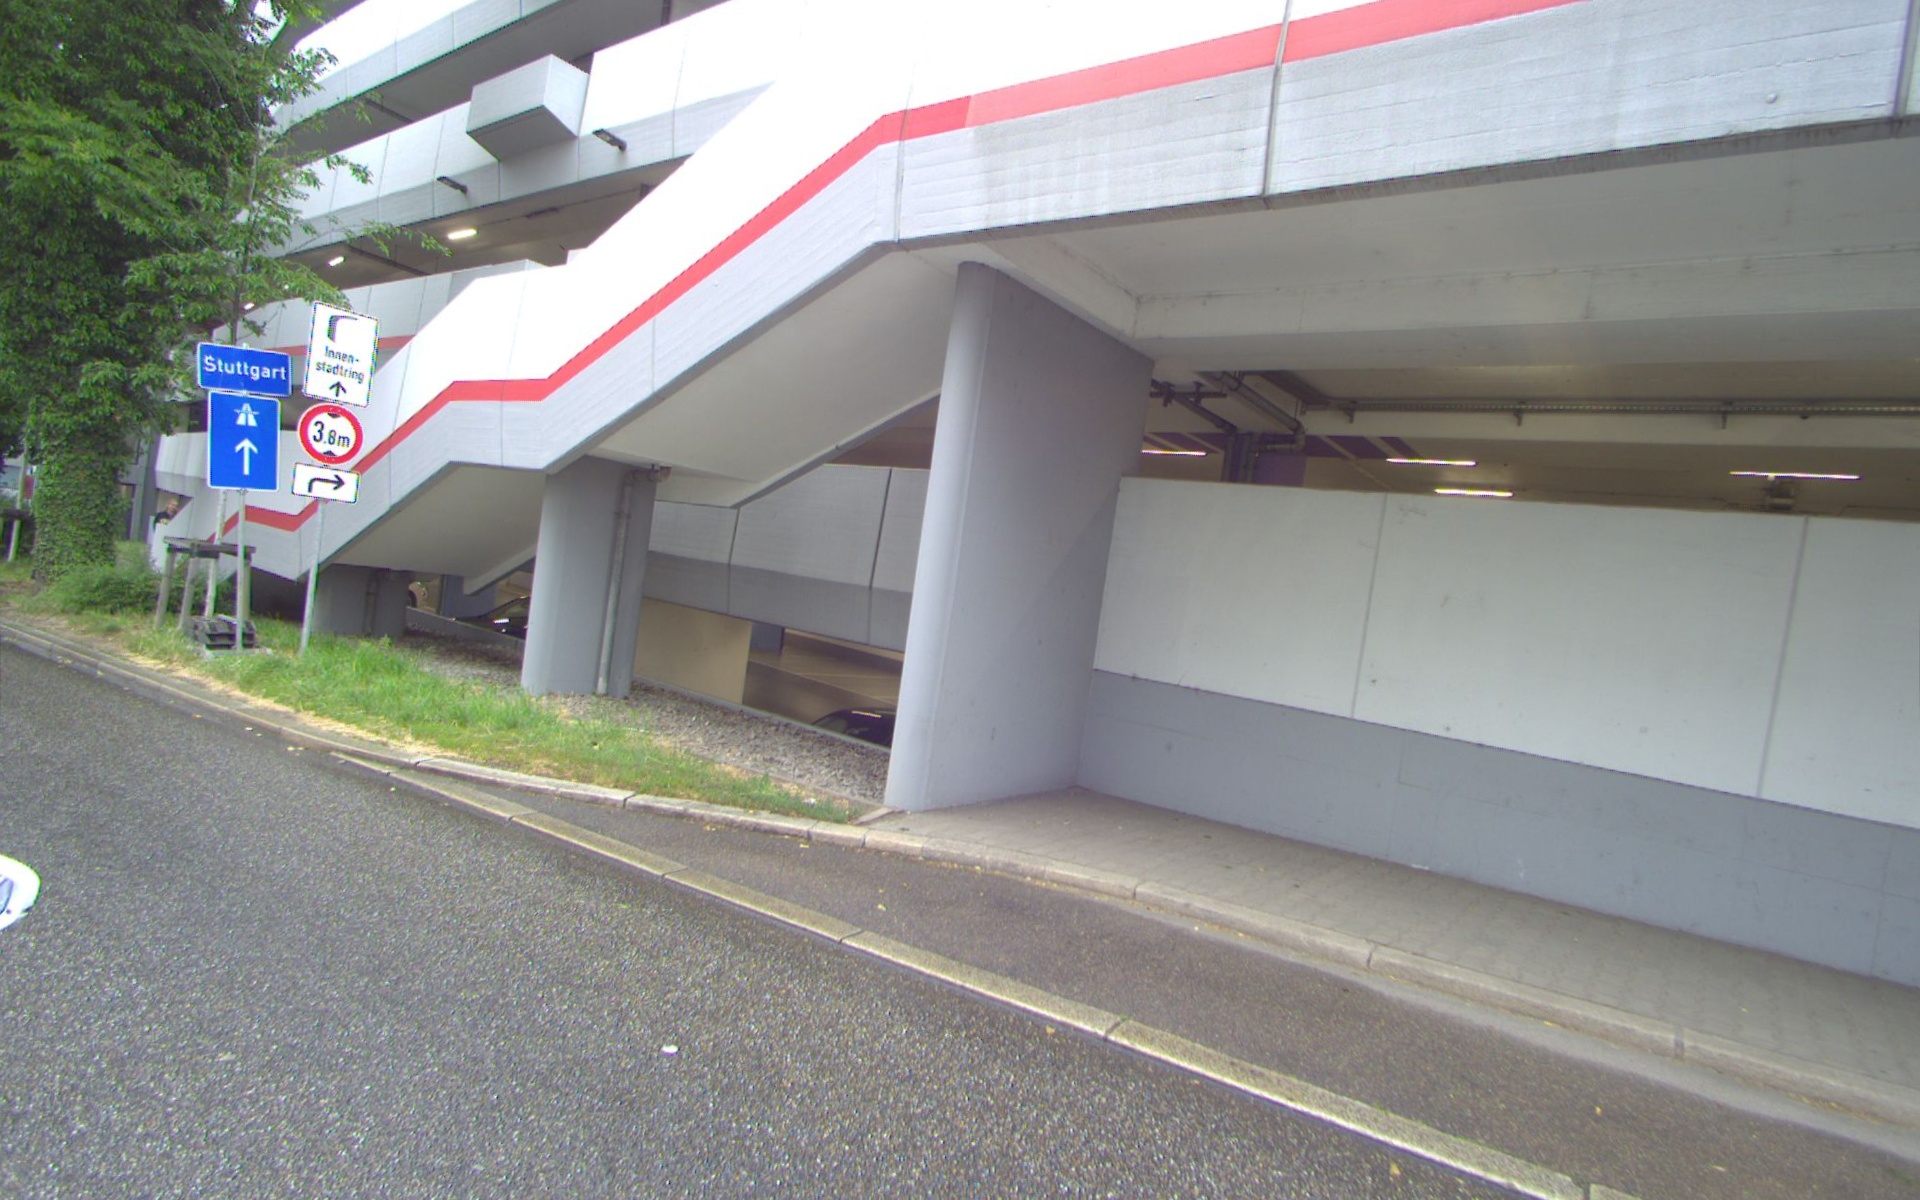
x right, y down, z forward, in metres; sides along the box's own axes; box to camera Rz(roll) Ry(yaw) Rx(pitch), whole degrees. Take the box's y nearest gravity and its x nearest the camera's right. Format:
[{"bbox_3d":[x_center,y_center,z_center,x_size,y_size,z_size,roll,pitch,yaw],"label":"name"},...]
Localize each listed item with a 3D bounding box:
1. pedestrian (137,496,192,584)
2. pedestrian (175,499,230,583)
[{"bbox_3d":[-14.964,-1.125,18.928,0.481,1.550,0.551,6,-1,38],"label":"pedestrian"},{"bbox_3d":[-14.600,-1.129,19.400,0.496,1.519,0.582,6,-1,37],"label":"pedestrian"}]
